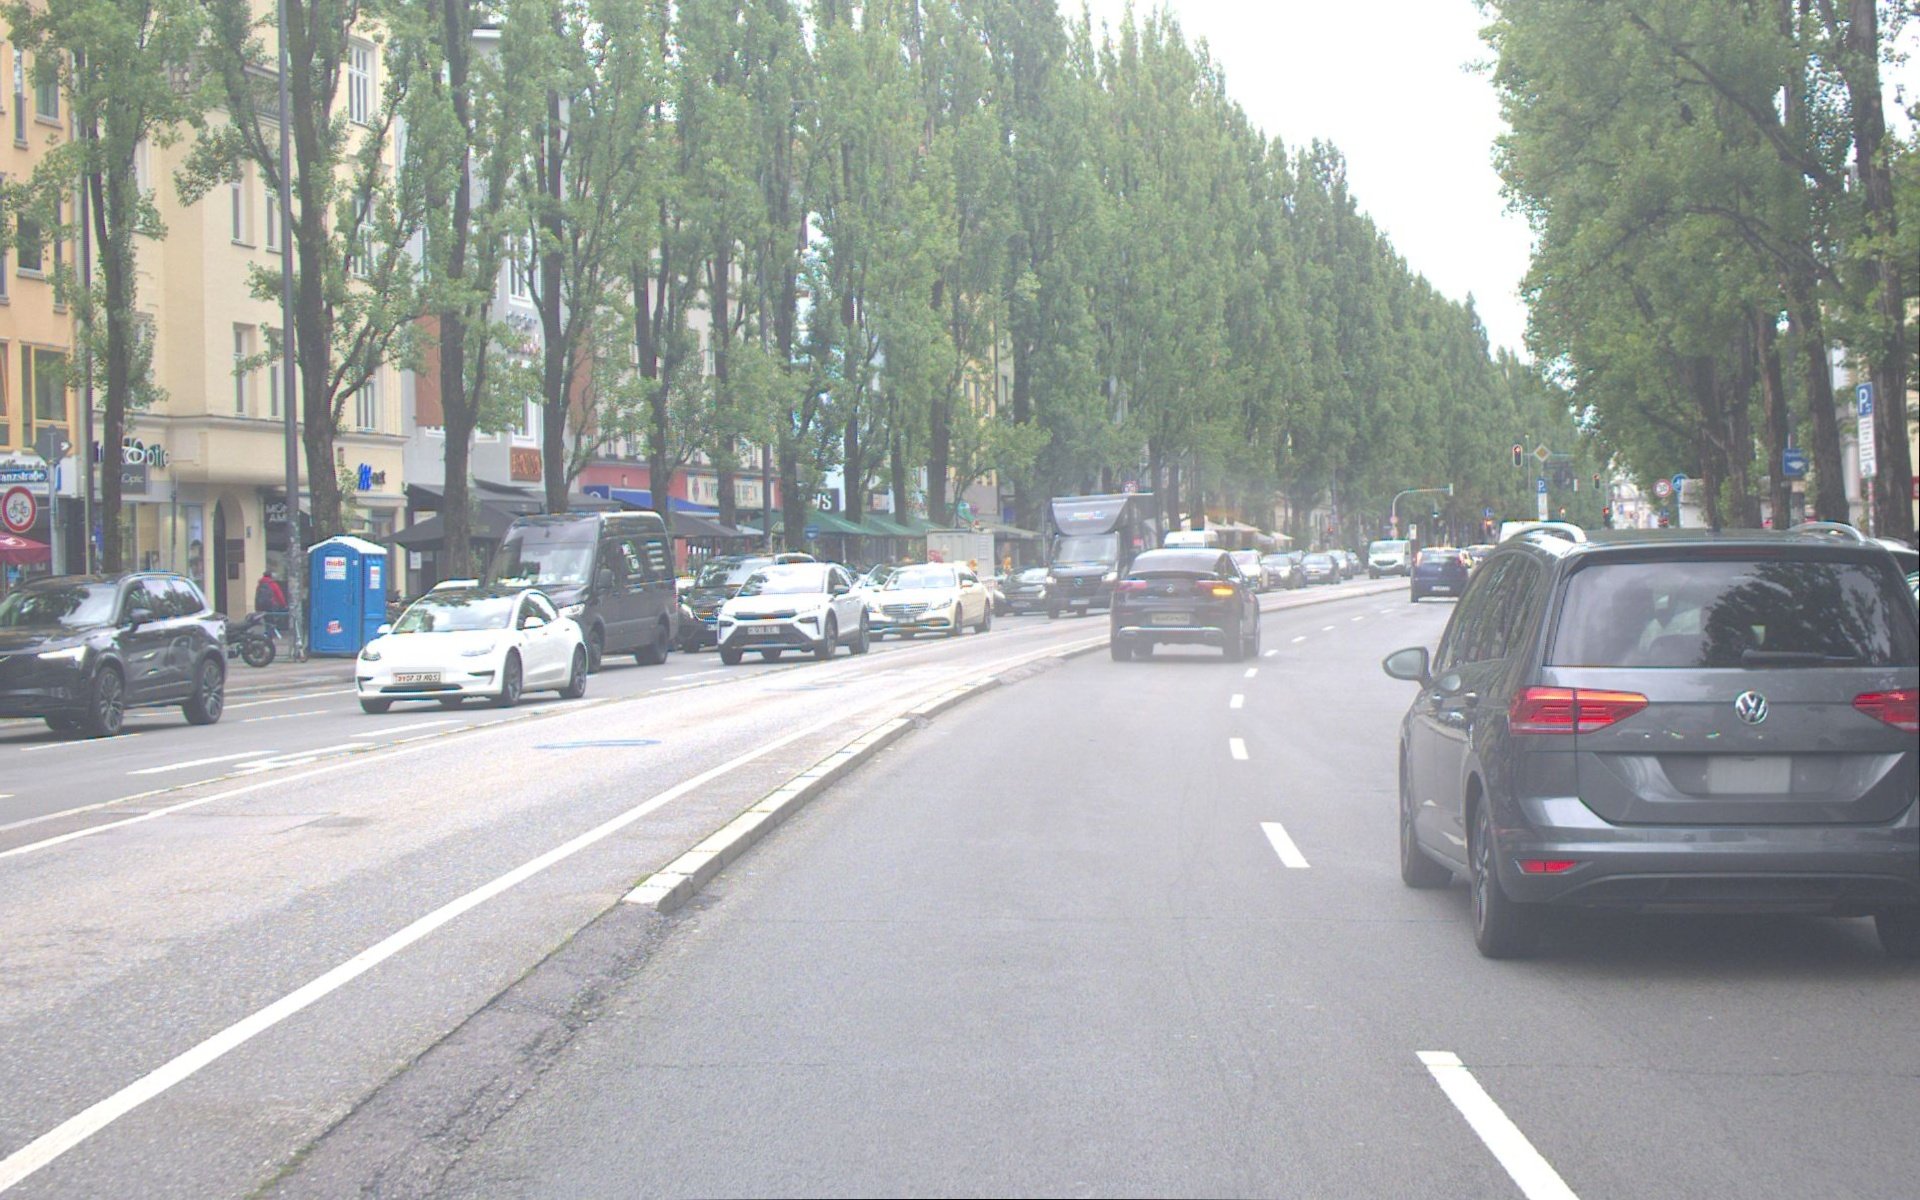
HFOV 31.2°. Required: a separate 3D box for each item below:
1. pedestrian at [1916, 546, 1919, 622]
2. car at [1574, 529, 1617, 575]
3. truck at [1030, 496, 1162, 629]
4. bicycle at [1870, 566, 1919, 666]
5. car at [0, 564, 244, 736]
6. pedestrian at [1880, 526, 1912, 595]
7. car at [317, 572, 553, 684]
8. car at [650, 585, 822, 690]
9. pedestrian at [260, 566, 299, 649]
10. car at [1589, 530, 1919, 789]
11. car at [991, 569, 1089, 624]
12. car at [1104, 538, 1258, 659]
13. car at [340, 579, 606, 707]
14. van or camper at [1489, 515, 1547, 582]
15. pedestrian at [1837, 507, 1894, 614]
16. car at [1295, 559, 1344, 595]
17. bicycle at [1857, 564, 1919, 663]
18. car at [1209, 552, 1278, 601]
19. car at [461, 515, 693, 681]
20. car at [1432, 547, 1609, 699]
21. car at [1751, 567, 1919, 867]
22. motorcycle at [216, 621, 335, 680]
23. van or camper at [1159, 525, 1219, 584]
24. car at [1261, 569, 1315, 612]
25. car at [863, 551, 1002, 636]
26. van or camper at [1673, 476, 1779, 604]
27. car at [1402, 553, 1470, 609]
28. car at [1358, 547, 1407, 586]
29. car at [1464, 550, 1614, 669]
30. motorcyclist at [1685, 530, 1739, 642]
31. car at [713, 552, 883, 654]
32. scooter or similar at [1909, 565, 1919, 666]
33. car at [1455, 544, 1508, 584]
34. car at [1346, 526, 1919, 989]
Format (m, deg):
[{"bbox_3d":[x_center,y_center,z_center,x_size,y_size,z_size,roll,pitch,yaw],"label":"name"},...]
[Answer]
[{"bbox_3d":[21.122,-0.356,74.336,0.730,1.620,0.804,-1,1,21],"label":"pedestrian"},{"bbox_3d":[28.765,-2.161,155.555,1.805,1.985,3.998,0,0,11],"label":"car"},{"bbox_3d":[3.677,-1.019,91.378,2.292,3.311,7.154,-2,1,11],"label":"truck"},{"bbox_3d":[12.020,0.177,42.303,1.478,1.203,0.536,-2,1,3],"label":"bicycle"},{"bbox_3d":[-9.629,0.494,37.488,2.019,1.710,4.981,-1,1,7],"label":"car"},{"bbox_3d":[22.119,-0.934,81.235,0.673,1.607,0.640,-1,0,14],"label":"pedestrian"},{"bbox_3d":[-9.063,0.438,59.929,2.171,1.757,6.061,-1,1,10],"label":"car"},{"bbox_3d":[-4.416,0.714,68.893,1.994,1.857,5.709,-3,0,11],"label":"car"},{"bbox_3d":[-14.275,0.152,72.127,0.539,1.741,0.755,0,1,11],"label":"pedestrian"},{"bbox_3d":[5.658,0.360,24.465,1.727,1.680,4.408,0,1,2],"label":"car"},{"bbox_3d":[2.292,-0.116,97.233,1.940,1.429,4.536,-2,1,12],"label":"car"},{"bbox_3d":[3.261,-0.056,50.031,1.881,1.636,4.581,-1,1,8],"label":"car"},{"bbox_3d":[-5.882,0.485,42.076,1.800,1.389,4.688,-2,1,10],"label":"car"},{"bbox_3d":[21.587,-1.961,132.833,2.035,2.467,3.998,-1,-1,11],"label":"van or camper"},{"bbox_3d":[16.200,-0.704,61.526,0.817,1.863,0.938,-2,0,8],"label":"pedestrian"},{"bbox_3d":[15.093,-0.962,144.141,1.712,1.409,3.721,-1,1,11],"label":"car"},{"bbox_3d":[12.003,0.152,42.885,1.478,1.203,0.536,-2,1,3],"label":"bicycle"},{"bbox_3d":[10.021,-0.853,121.276,1.940,1.636,4.462,-2,1,11],"label":"car"},{"bbox_3d":[-6.340,-0.074,57.773,2.171,2.596,6.061,-1,1,10],"label":"car"},{"bbox_3d":[6.618,0.254,40.961,1.925,1.694,4.648,0,0,7],"label":"car"},{"bbox_3d":[5.572,0.563,18.252,1.771,1.428,4.571,1,1,1],"label":"car"},{"bbox_3d":[-12.183,0.893,61.253,2.055,1.033,0.486,0,0,-9],"label":"motorcycle"},{"bbox_3d":[9.821,-1.942,147.160,1.994,2.450,4.249,-1,1,11],"label":"van or camper"},{"bbox_3d":[12.545,-0.352,131.275,1.668,1.590,3.998,0,0,11],"label":"car"},{"bbox_3d":[-0.520,-0.163,71.069,1.994,1.583,5.193,-3,0,9],"label":"car"},{"bbox_3d":[19.425,-1.521,87.242,2.461,3.101,4.713,-2,1,12],"label":"van or camper"},{"bbox_3d":[14.083,-0.553,101.558,1.760,1.614,3.745,0,0,11],"label":"car"},{"bbox_3d":[21.990,-1.730,178.969,1.993,2.007,4.000,0,0,-1],"label":"car"},{"bbox_3d":[7.877,0.095,47.086,1.811,1.495,4.804,-2,1,8],"label":"car"},{"bbox_3d":[9.628,-0.186,44.032,0.564,1.401,0.766,-2,0,8],"label":"motorcyclist"},{"bbox_3d":[-2.686,0.020,58.087,1.910,1.597,4.353,-1,1,10],"label":"car"},{"bbox_3d":[12.097,0.172,41.677,1.050,1.221,0.380,-2,1,4],"label":"scooter or similar"},{"bbox_3d":[23.693,-1.647,156.082,1.995,1.711,3.998,-2,1,13],"label":"car"},{"bbox_3d":[2.750,0.524,14.093,1.761,1.608,4.184,0,1,-1],"label":"car"}]
